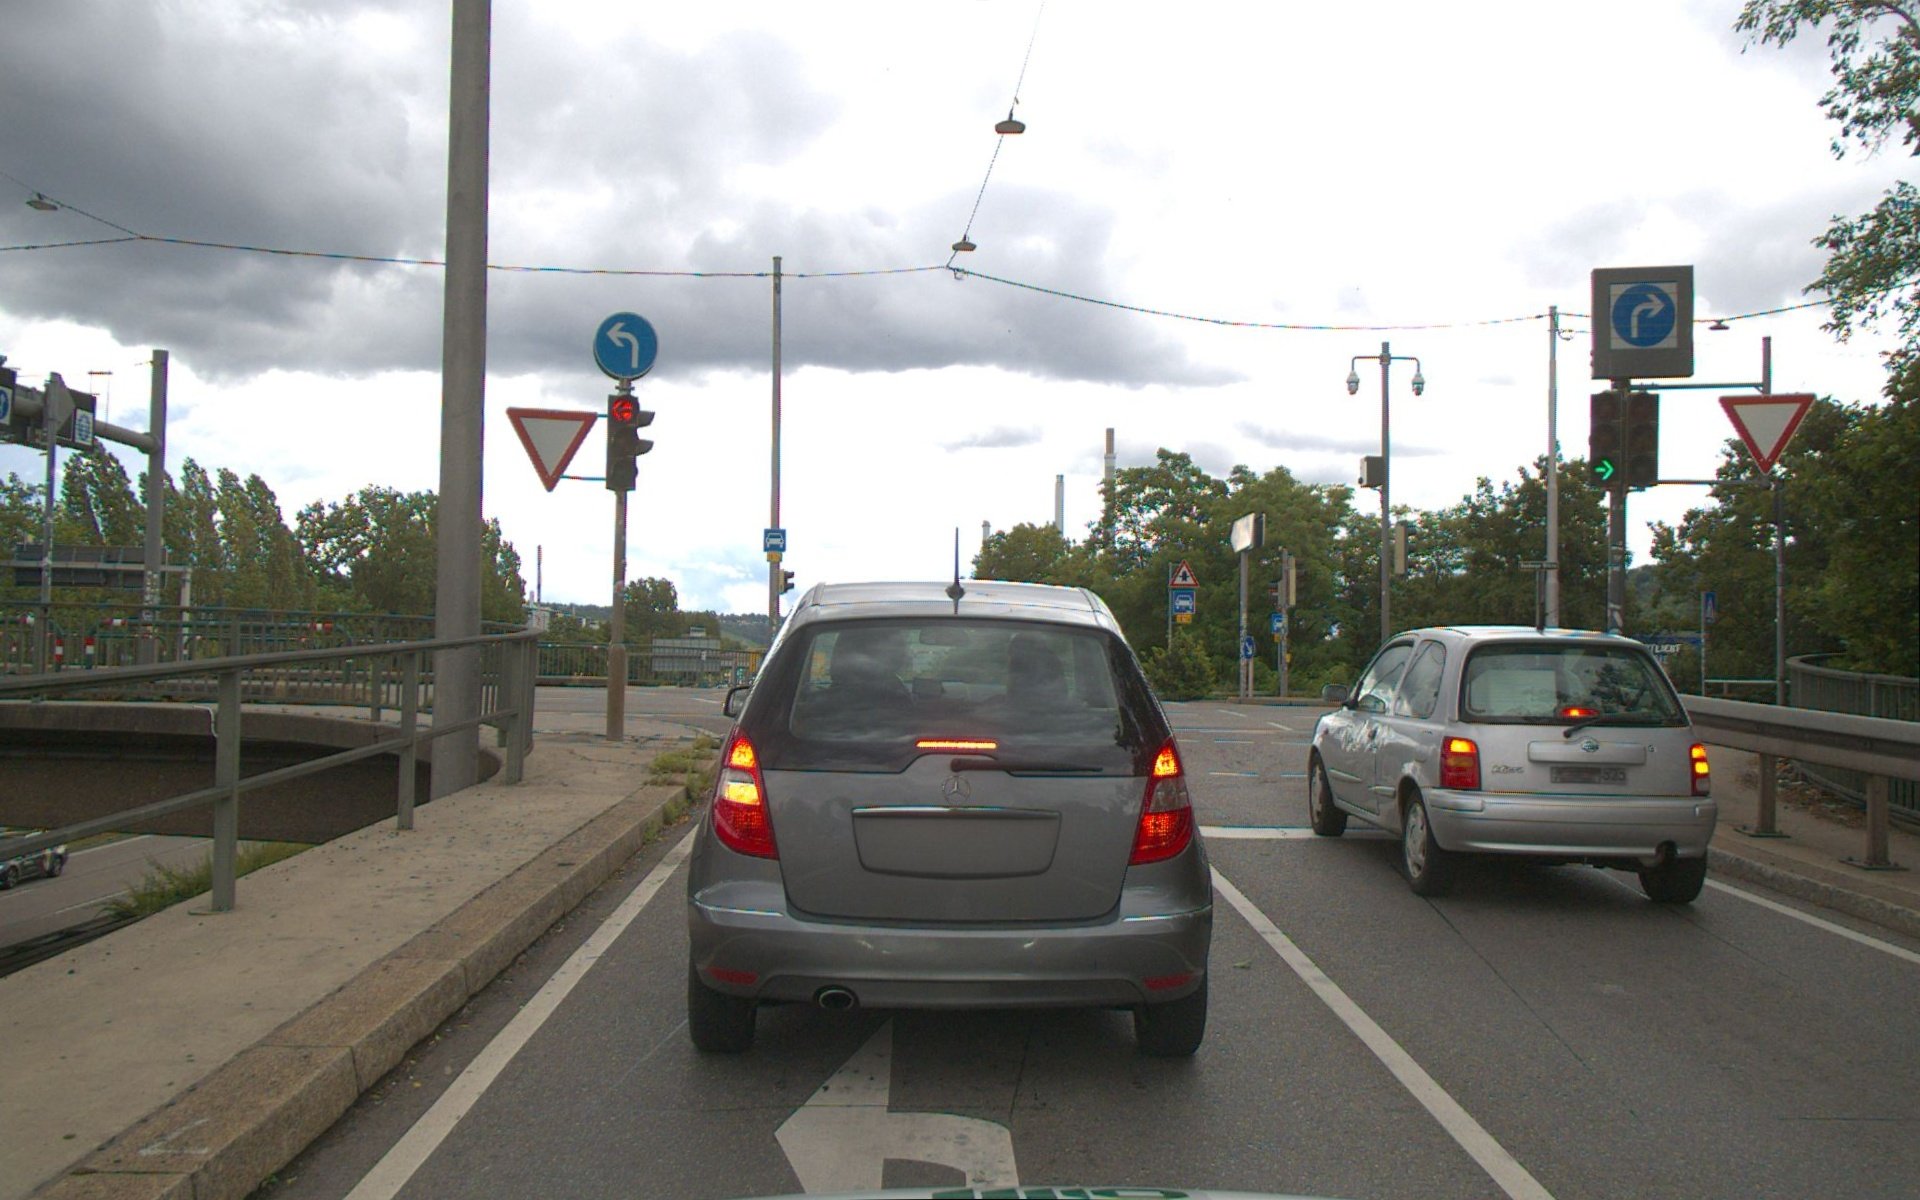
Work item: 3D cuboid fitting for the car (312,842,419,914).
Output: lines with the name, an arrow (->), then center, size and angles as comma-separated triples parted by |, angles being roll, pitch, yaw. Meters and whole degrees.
car -> -16.644, 7.774, 46.465 | 1.657, 1.560, 3.608 | 0, -2, 0

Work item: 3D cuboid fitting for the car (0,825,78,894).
car -> -30.233, 8.230, 52.717 | 1.822, 1.681, 4.632 | -1, -3, -1

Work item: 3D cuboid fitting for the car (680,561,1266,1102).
car -> 0.022, 0.692, 6.646 | 1.704, 1.570, 3.540 | 1, 0, -1

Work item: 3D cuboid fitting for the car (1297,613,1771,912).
car -> 3.198, 0.820, 9.910 | 1.553, 1.457, 3.441 | 0, 0, -2
